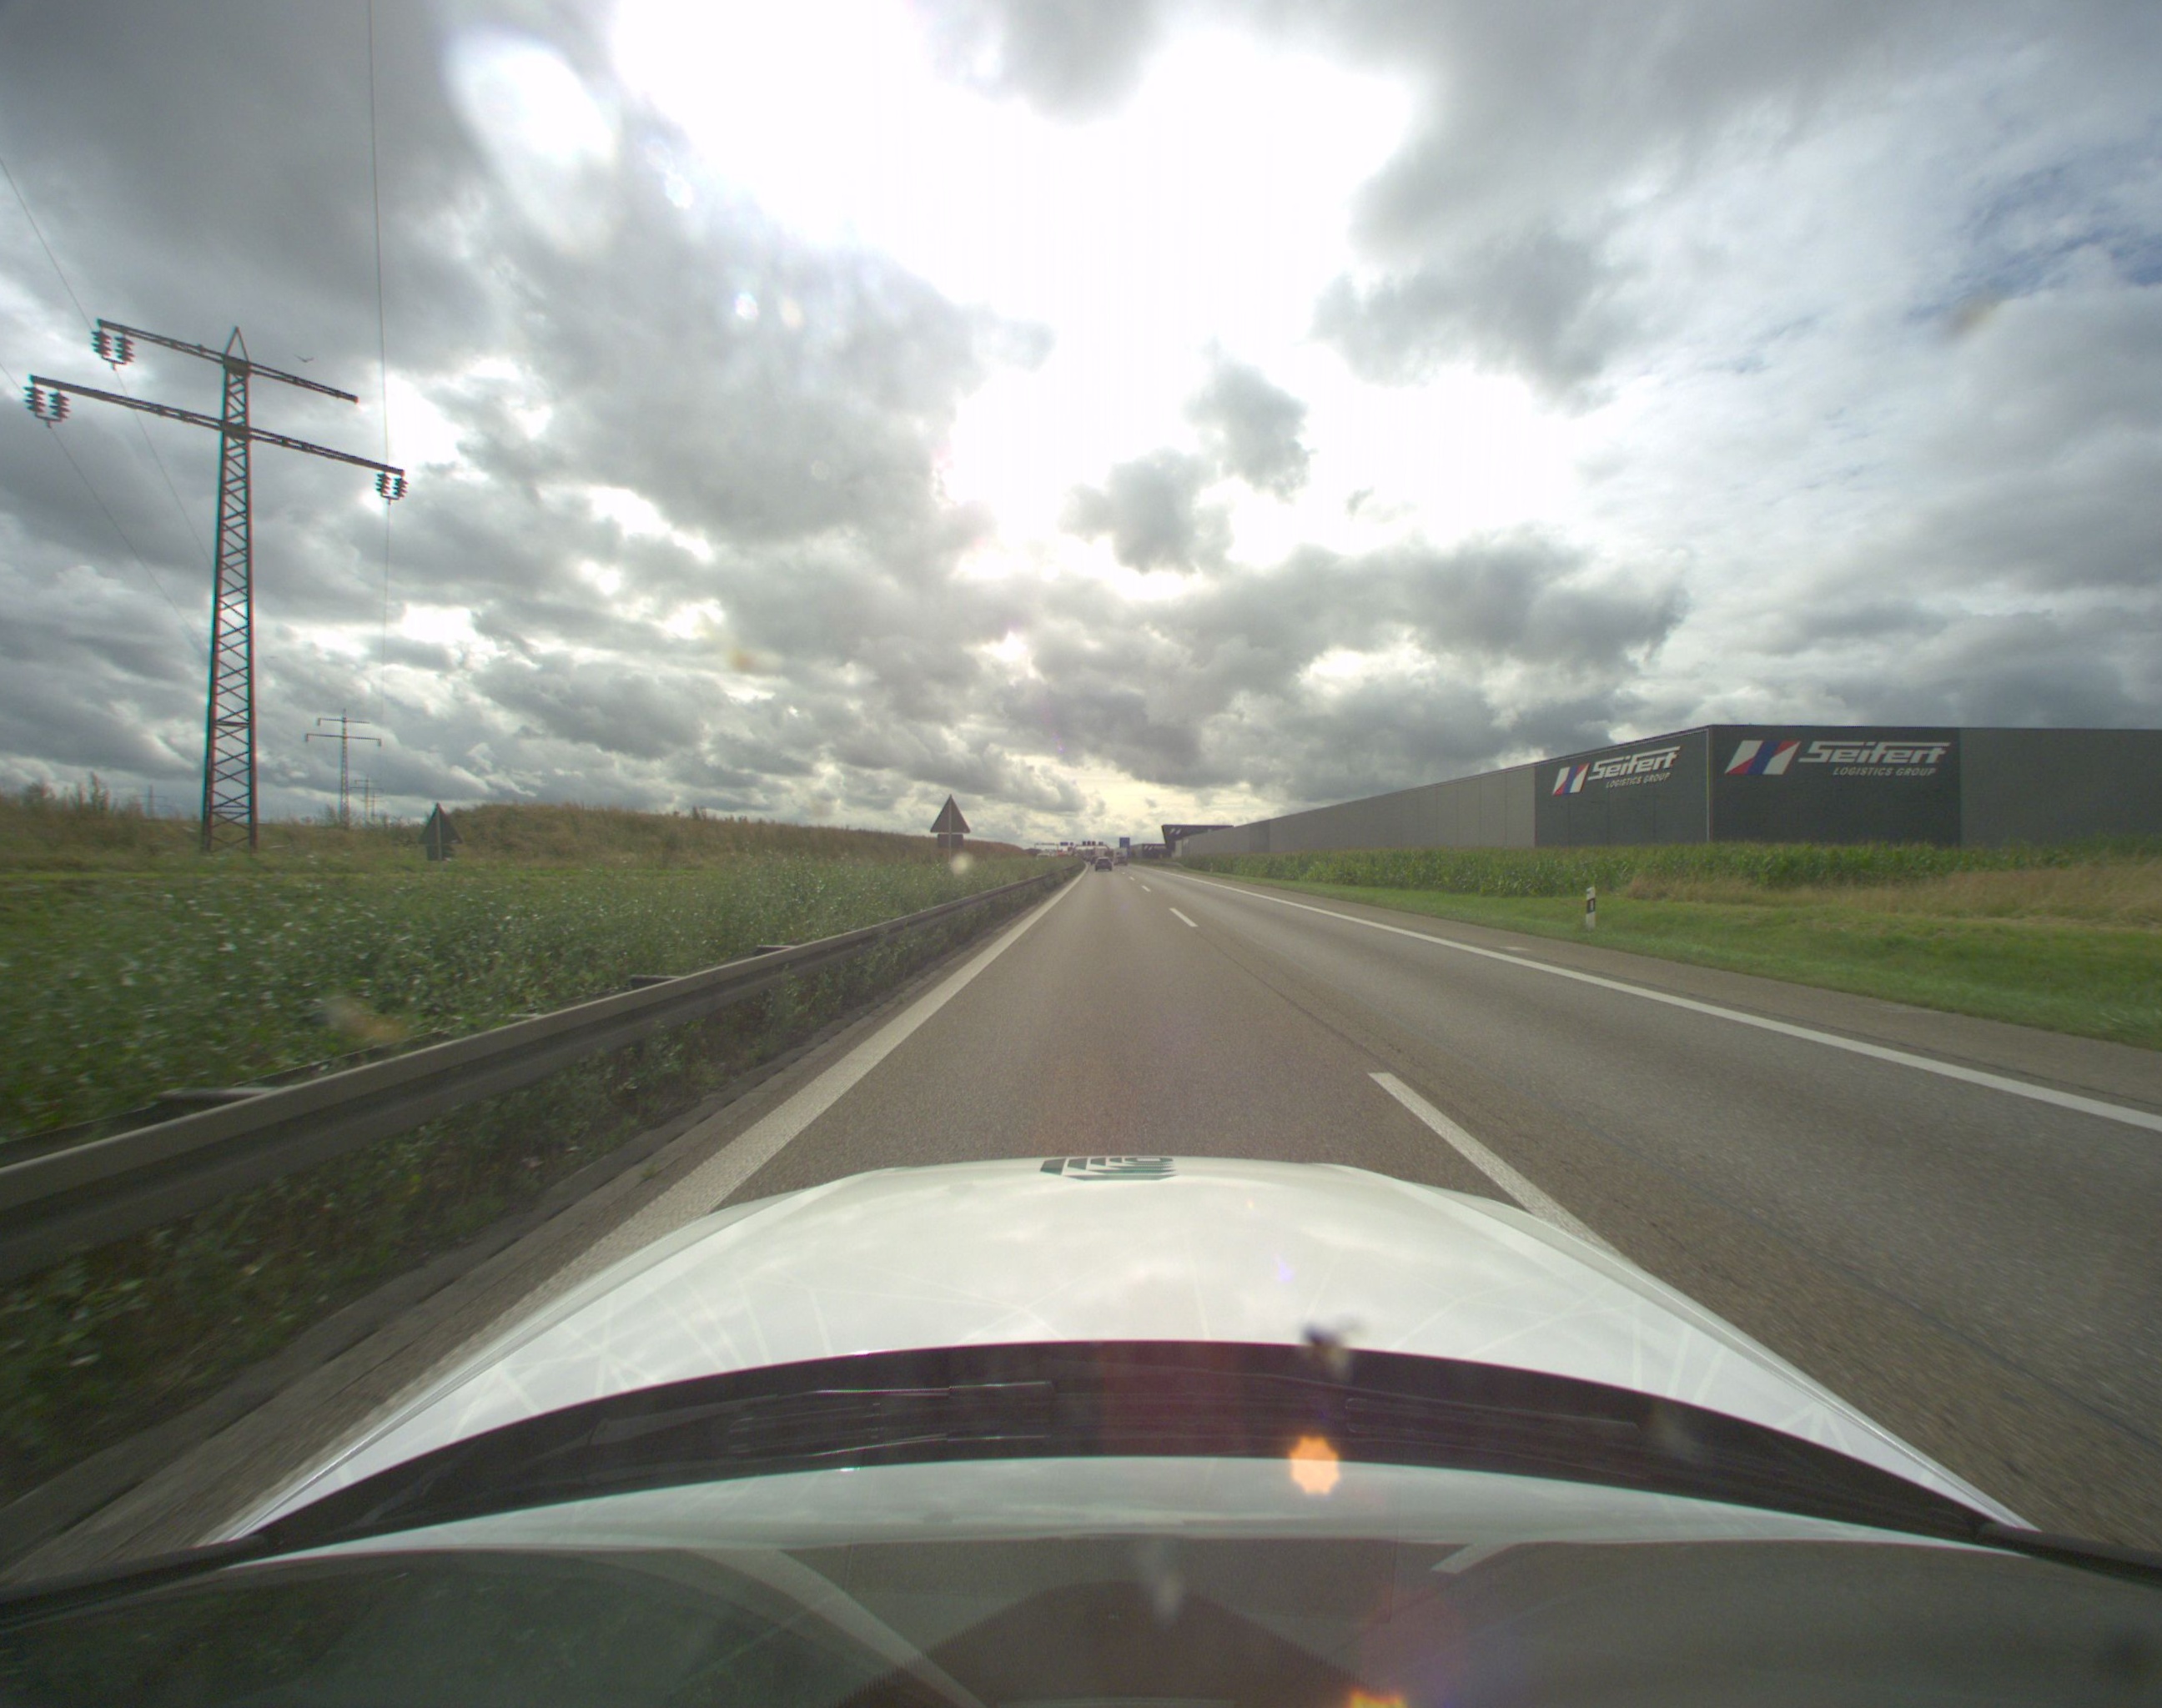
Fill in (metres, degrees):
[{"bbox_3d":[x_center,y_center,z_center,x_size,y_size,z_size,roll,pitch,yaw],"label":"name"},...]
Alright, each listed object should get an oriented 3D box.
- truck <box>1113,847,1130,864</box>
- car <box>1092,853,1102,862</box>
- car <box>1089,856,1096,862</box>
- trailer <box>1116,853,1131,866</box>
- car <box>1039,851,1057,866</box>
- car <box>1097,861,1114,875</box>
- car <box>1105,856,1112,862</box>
[{"bbox_3d":[7.041,0.245,142.136,2.475,2.950,5.810,0,0,-2],"label":"truck"},{"bbox_3d":[2.929,0.599,151.235,1.939,1.685,4.000,0,0,0],"label":"car"},{"bbox_3d":[3.396,1.516,236.274,1.937,1.775,3.695,0,0,0],"label":"car"},{"bbox_3d":[6.995,0.956,135.125,2.330,2.136,4.000,0,0,0],"label":"trailer"},{"bbox_3d":[-4.581,0.683,113.621,1.986,2.014,5.533,0,0,2],"label":"car"},{"bbox_3d":[2.605,1.441,87.648,1.740,1.453,4.000,0,0,1],"label":"car"},{"bbox_3d":[7.399,1.316,217.388,1.795,1.684,4.000,-1,1,0],"label":"car"}]
